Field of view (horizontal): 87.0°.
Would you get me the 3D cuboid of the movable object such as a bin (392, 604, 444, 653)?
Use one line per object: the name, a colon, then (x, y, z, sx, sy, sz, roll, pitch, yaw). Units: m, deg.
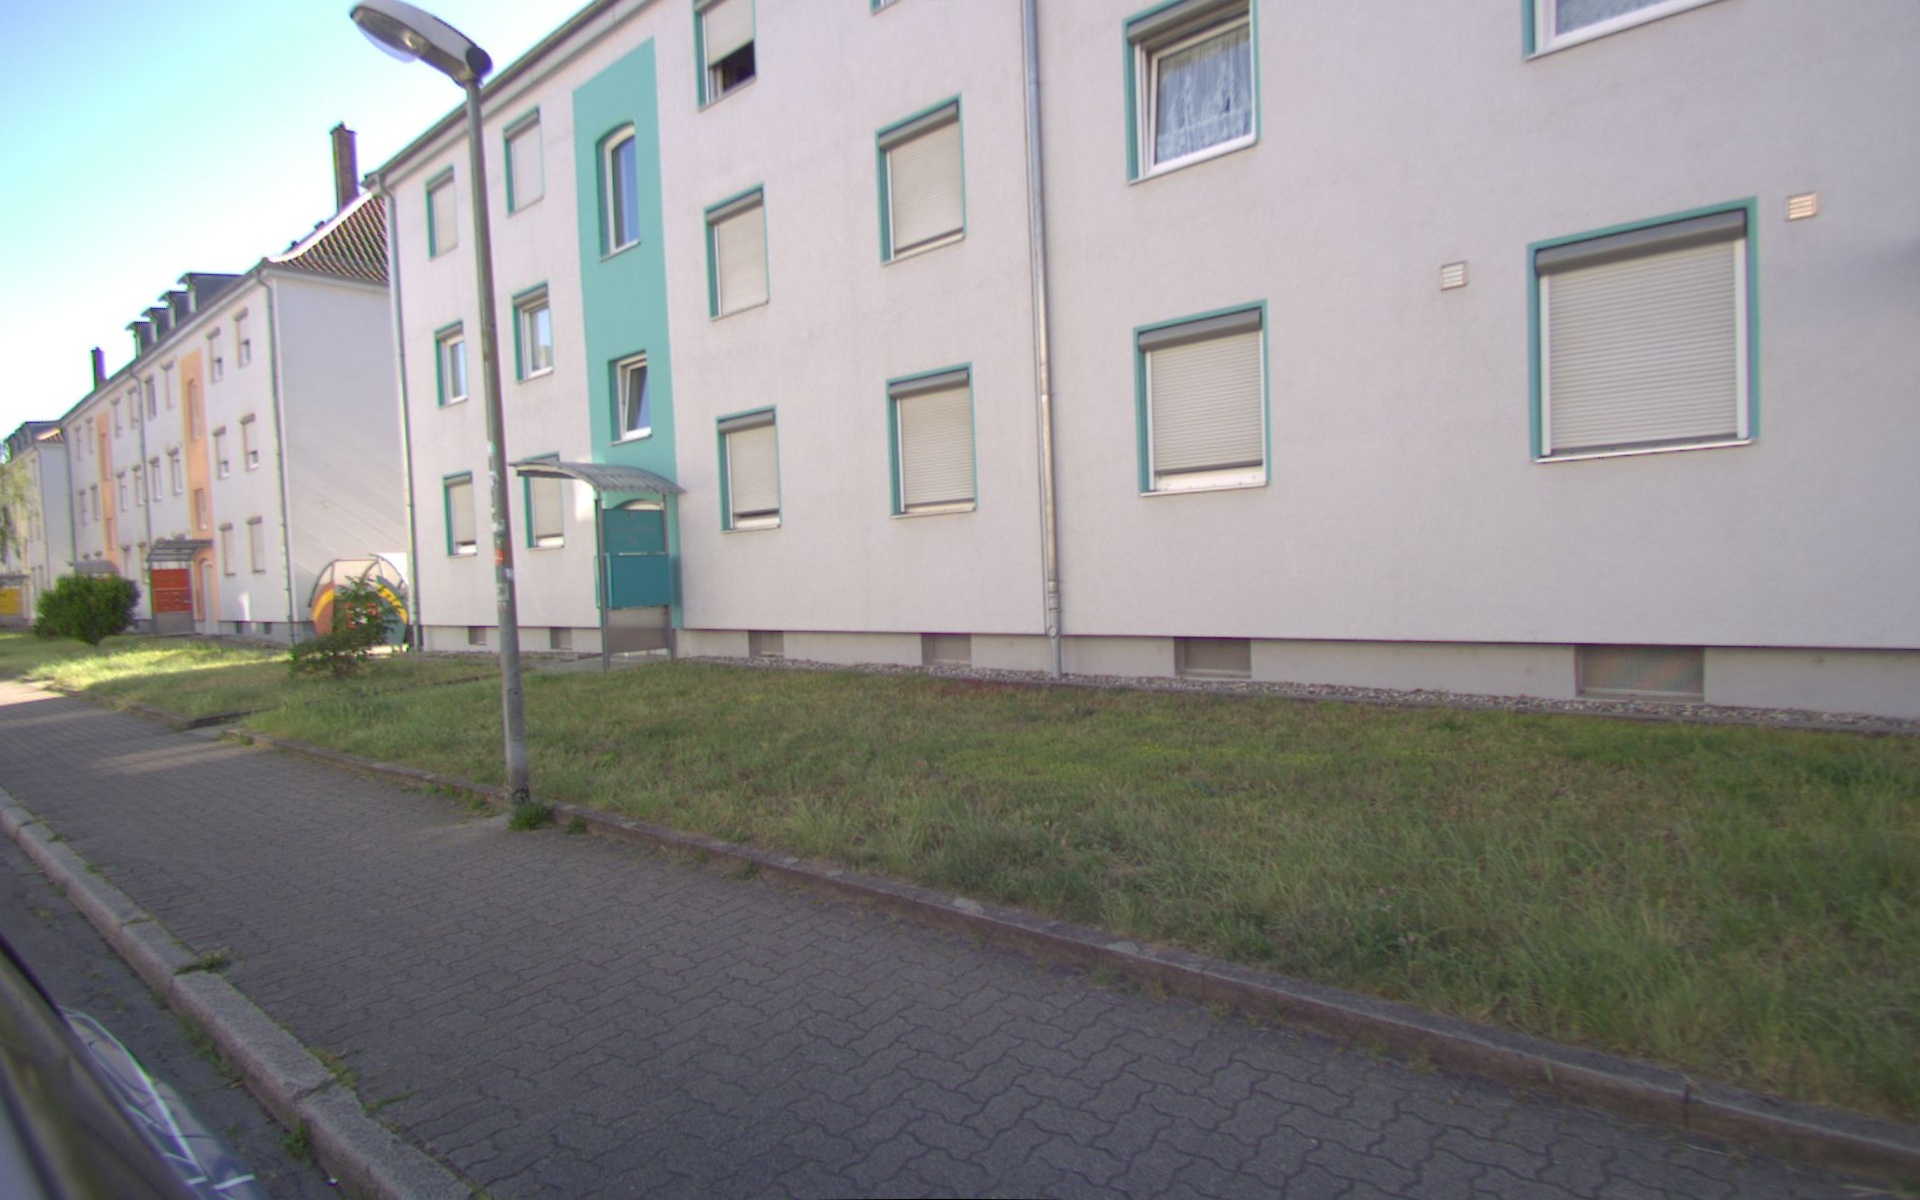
movable object such as a bin: (-11.984, 0.632, 22.383, 0.762, 1.020, 0.744, -2, 1, 41)

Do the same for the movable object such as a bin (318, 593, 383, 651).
movable object such as a bin: (-15.542, 0.556, 25.817, 0.877, 1.403, 1.152, -2, 1, 41)

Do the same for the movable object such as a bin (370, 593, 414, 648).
movable object such as a bin: (-14.902, 0.530, 26.558, 0.762, 1.403, 0.744, -2, 1, 41)
